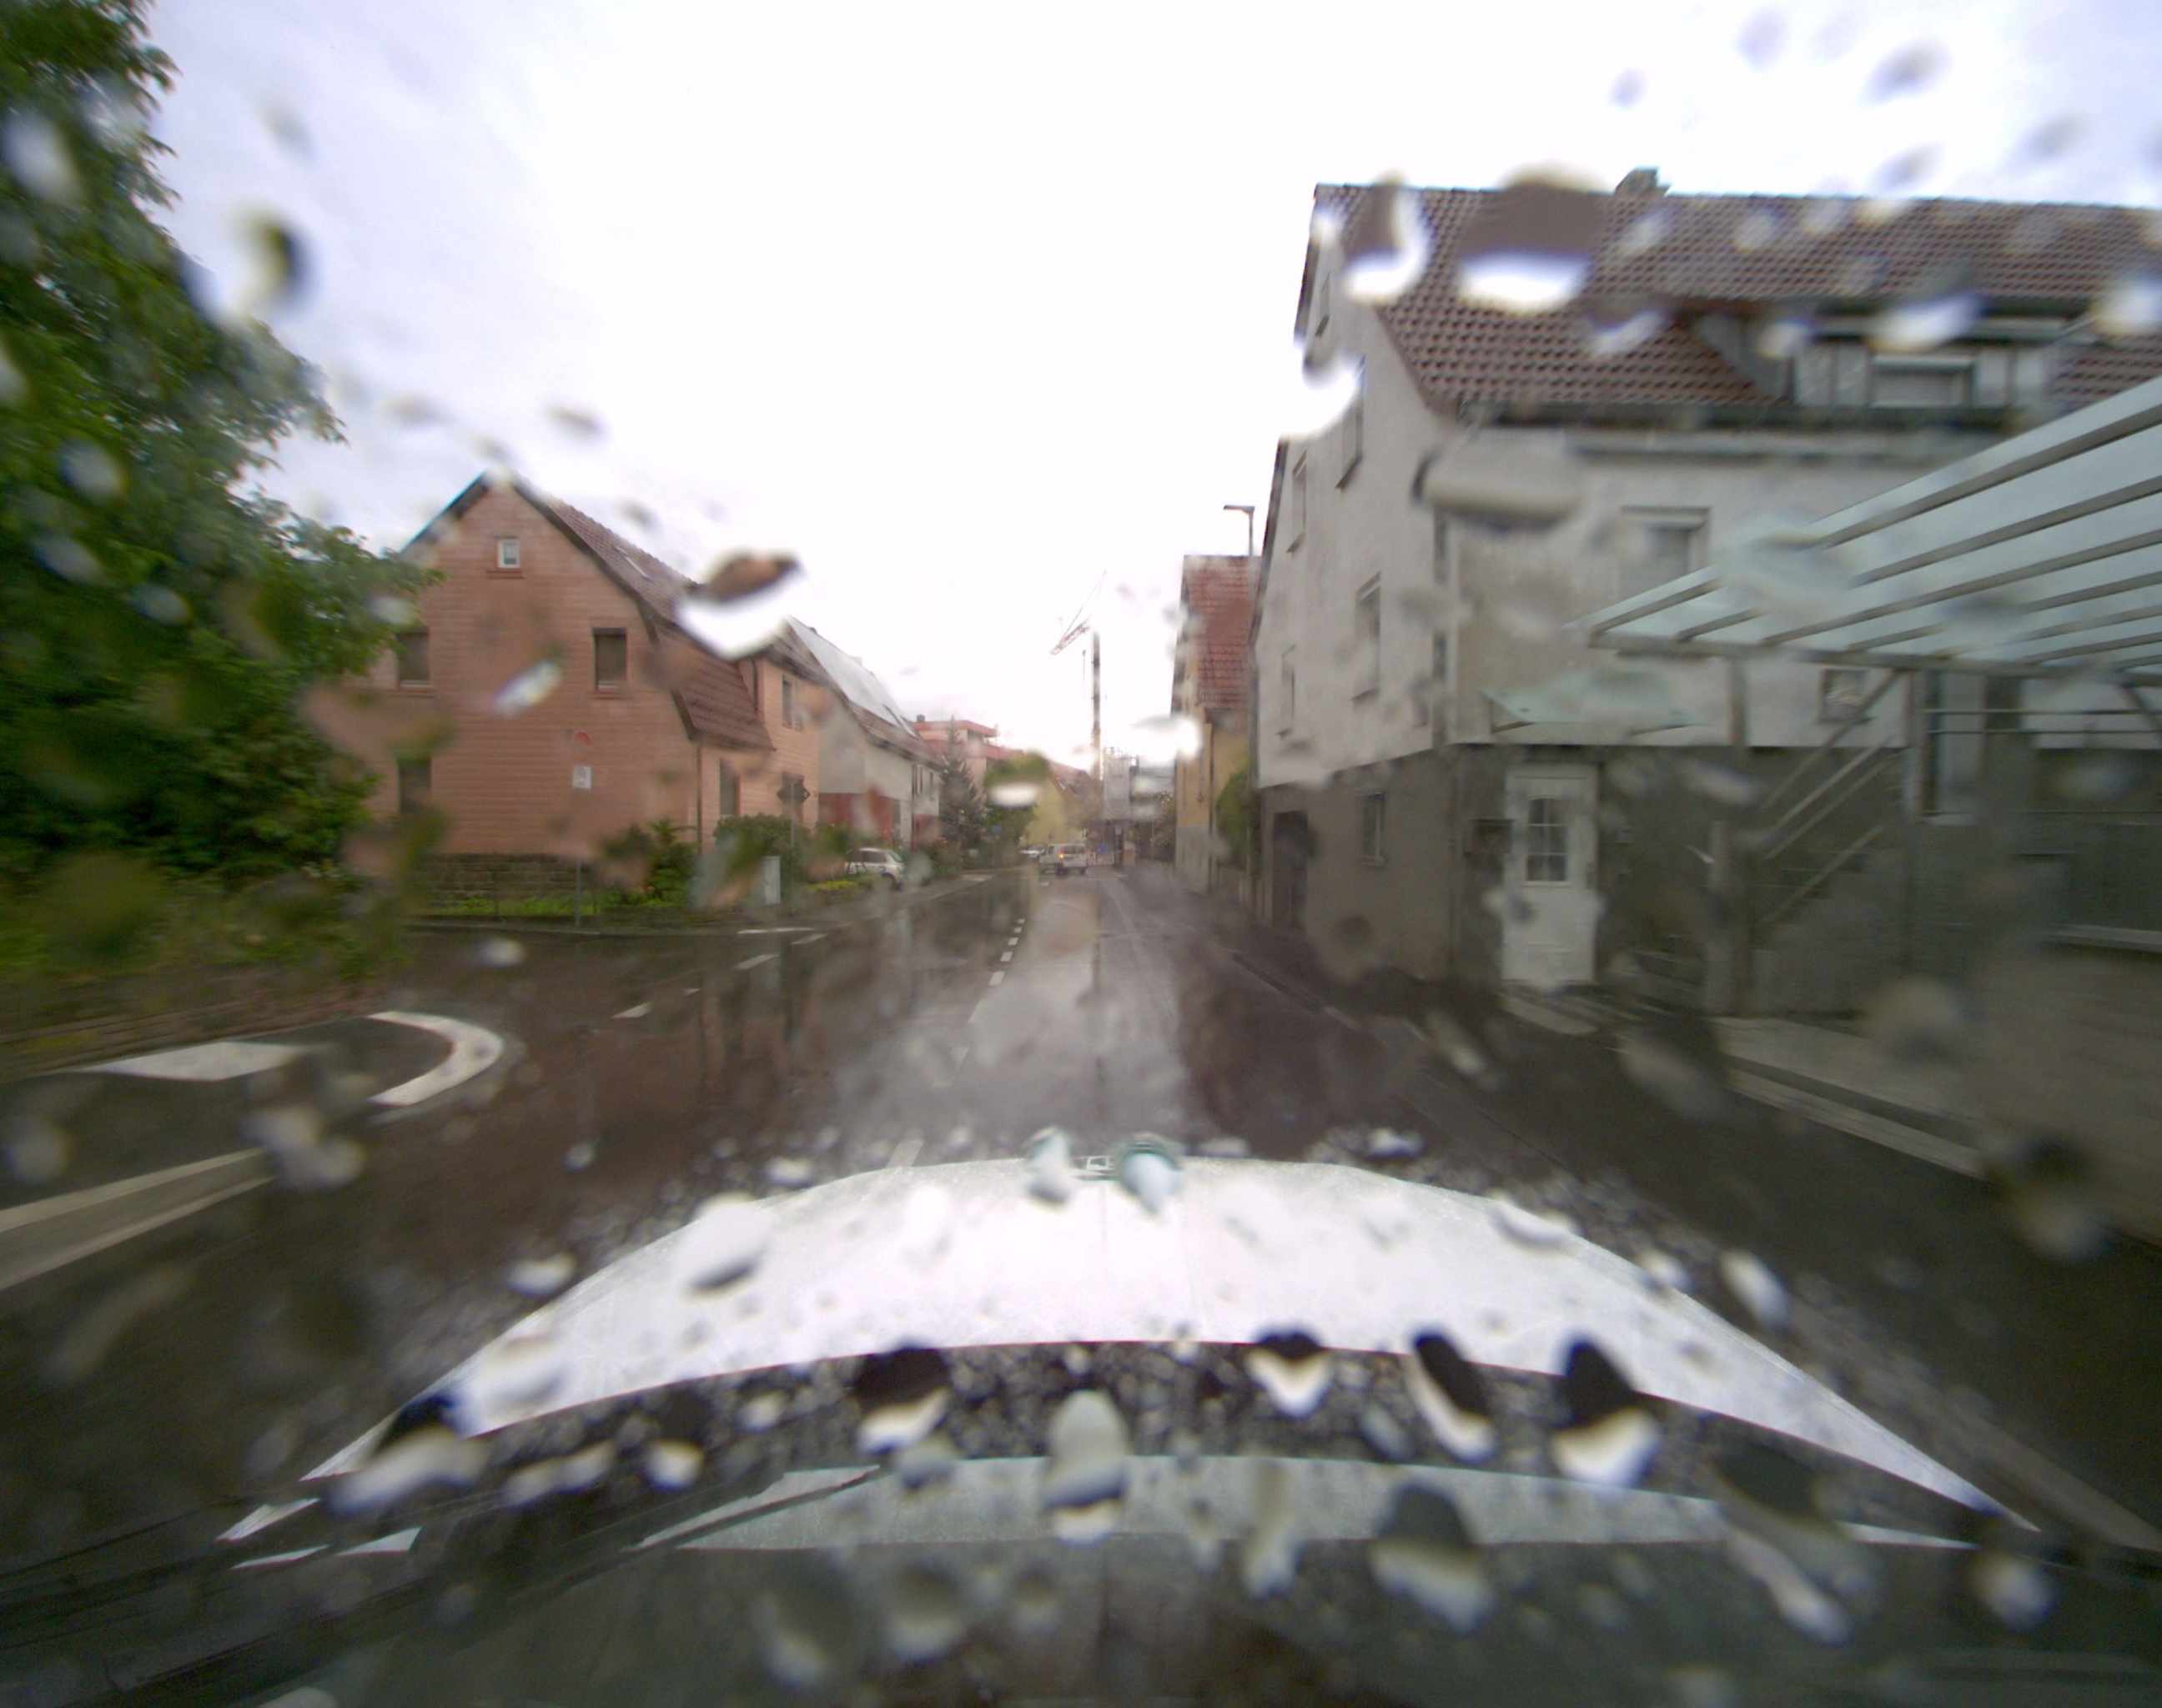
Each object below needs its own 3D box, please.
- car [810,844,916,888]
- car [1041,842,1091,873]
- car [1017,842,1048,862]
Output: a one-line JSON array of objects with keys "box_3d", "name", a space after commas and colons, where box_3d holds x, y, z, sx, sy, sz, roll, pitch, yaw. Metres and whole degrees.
[{"box_3d": [-8.268, 0.456, 31.145, 3.533, 1.529, 1.663, 2, 0, 0], "name": "car"}, {"box_3d": [-0.986, 0.212, 50.967, 2.186, 1.869, 3.978, 0, 0, -16], "name": "car"}, {"box_3d": [-4.258, -0.226, 72.143, 1.588, 1.677, 3.955, 1, 2, 15], "name": "car"}]
